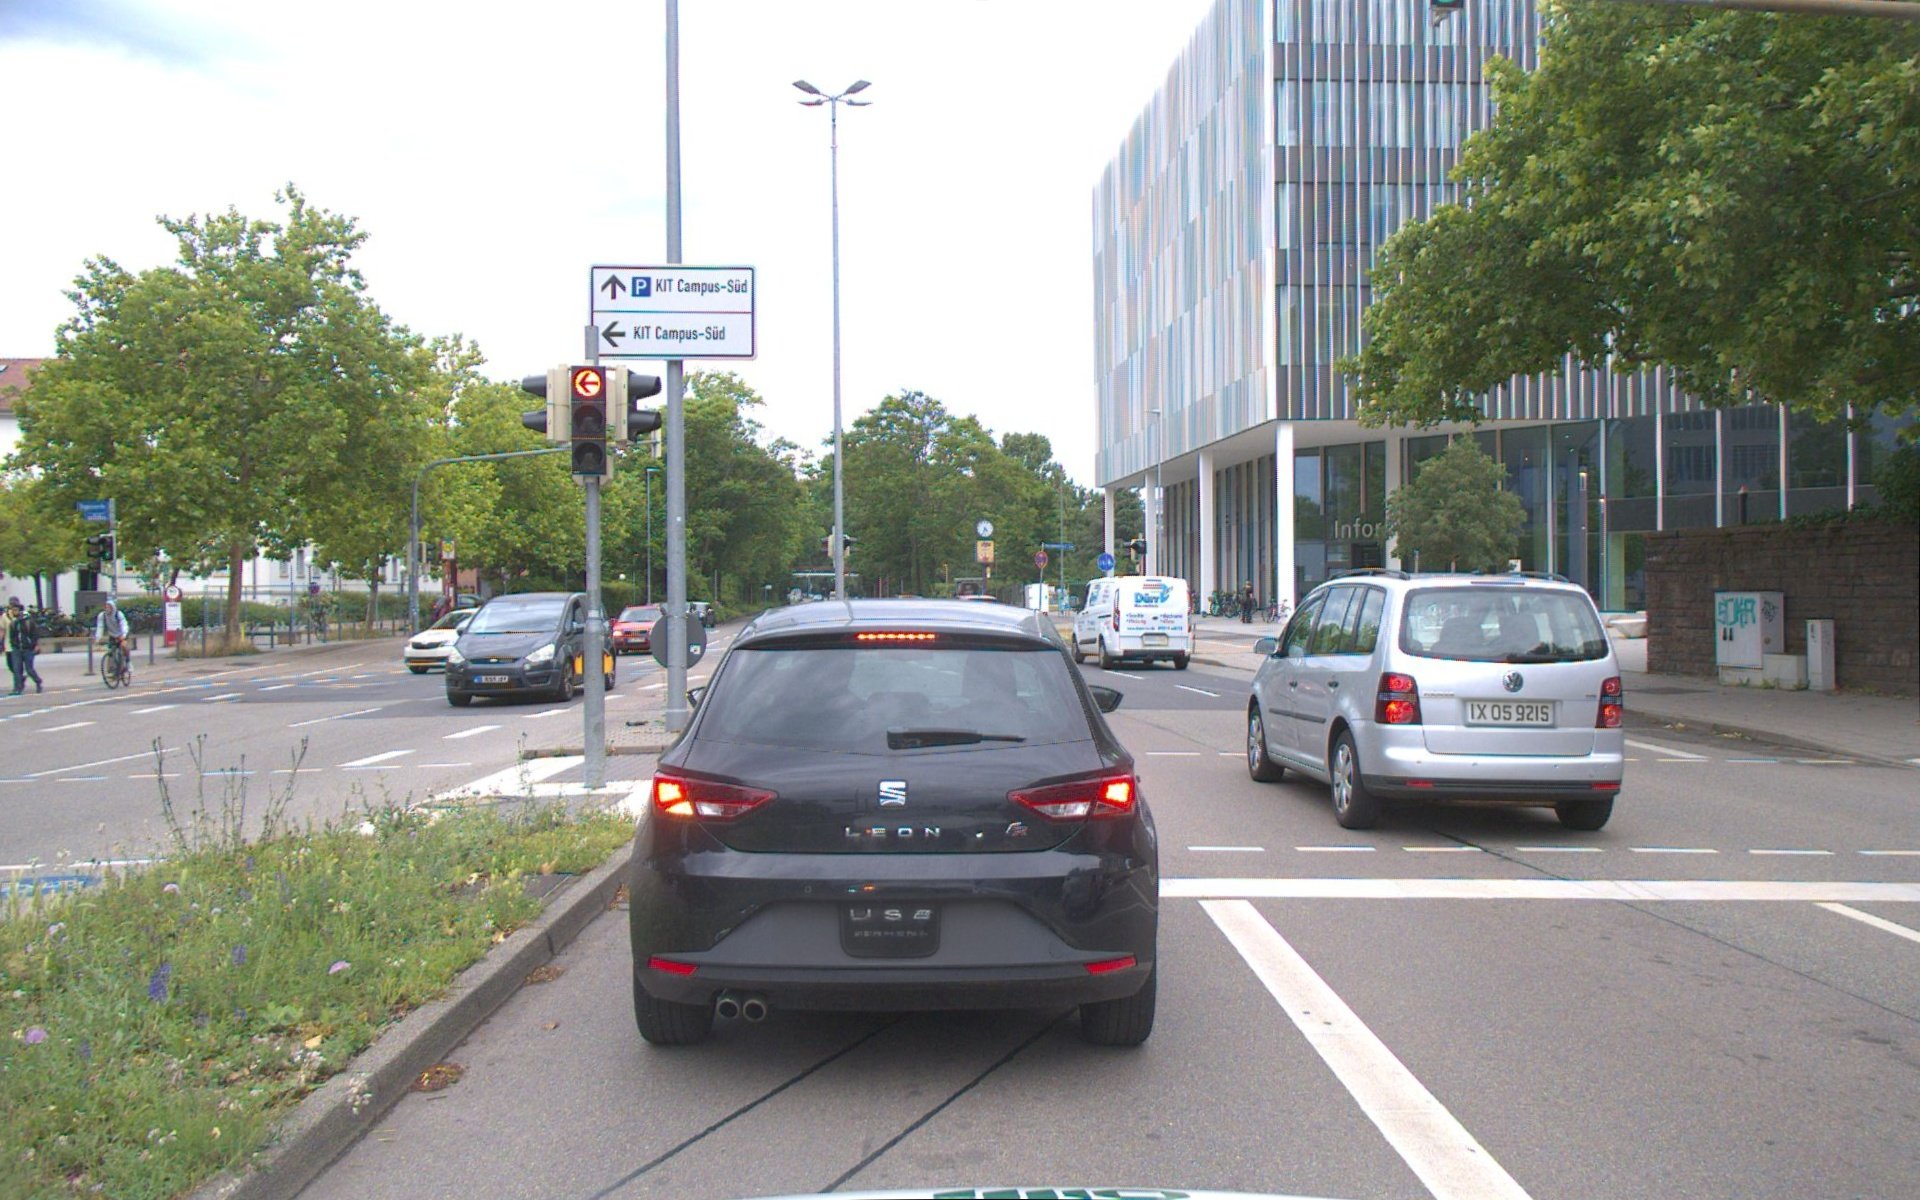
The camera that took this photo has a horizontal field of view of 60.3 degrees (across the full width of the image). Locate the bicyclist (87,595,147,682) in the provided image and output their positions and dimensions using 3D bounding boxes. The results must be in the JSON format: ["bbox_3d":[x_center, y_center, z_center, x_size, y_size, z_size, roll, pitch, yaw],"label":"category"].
[{"bbox_3d":[-16.610,0.753,32.615,0.652,1.664,0.961,1,-1,1],"label":"bicyclist"}]

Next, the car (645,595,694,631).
[{"bbox_3d":[-15.356,0.681,87.528,1.868,1.746,3.999,-2,1,-1],"label":"car"}]

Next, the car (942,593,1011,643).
[{"bbox_3d":[0.552,0.606,58.524,1.913,1.652,3.742,1,1,-8],"label":"car"}]

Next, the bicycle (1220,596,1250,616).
[{"bbox_3d":[12.840,0.293,77.152,1.421,0.872,0.361,-2,1,-28],"label":"bicycle"}]

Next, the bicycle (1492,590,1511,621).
[{"bbox_3d":[19.615,0.192,59.906,0.609,1.074,1.950,-2,1,19],"label":"bicycle"}]

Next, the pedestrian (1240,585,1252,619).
[{"bbox_3d":[12.076,0.091,69.836,0.462,1.385,0.446,-2,1,9],"label":"pedestrian"}]

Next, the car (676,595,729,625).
[{"bbox_3d":[-15.207,0.591,97.951,1.721,1.615,4.004,-2,1,12],"label":"car"}]

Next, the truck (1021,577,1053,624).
[{"bbox_3d":[3.813,0.000,82.077,1.291,2.282,3.401,-2,1,-1],"label":"truck"}]

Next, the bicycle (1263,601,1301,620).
[{"bbox_3d":[13.788,0.448,70.809,1.450,0.761,0.565,-2,1,-4],"label":"bicycle"}]

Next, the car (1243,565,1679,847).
[{"bbox_3d":[3.266,0.602,11.649,1.694,1.631,4.104,0,0,-2],"label":"car"}]

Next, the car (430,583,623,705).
[{"bbox_3d":[-6.738,0.637,26.204,1.882,1.693,4.398,-2,0,-1],"label":"car"}]

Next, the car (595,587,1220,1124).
[{"bbox_3d":[-0.097,0.689,6.466,1.717,1.457,3.770,1,1,1],"label":"car"}]

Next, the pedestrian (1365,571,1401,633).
[{"bbox_3d":[12.690,0.054,49.608,0.830,1.795,0.767,-2,1,-1],"label":"pedestrian"}]

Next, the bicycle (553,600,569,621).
[{"bbox_3d":[-20.178,0.530,83.664,0.478,1.023,1.590,1,1,-1],"label":"bicycle"}]

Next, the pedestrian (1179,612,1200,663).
[{"bbox_3d":[8.218,1.338,59.250,0.673,1.812,0.677,0,0,-1],"label":"pedestrian"}]

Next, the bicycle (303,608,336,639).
[{"bbox_3d":[-23.274,0.839,60.089,0.596,1.079,2.041,-2,1,-7],"label":"bicycle"}]

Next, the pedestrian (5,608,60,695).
[{"bbox_3d":[-17.210,0.954,30.705,0.778,1.585,0.695,0,-3,-21],"label":"pedestrian"}]

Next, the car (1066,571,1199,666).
[{"bbox_3d":[3.821,0.376,37.383,1.930,2.007,4.335,1,0,-9],"label":"car"}]

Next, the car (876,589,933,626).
[{"bbox_3d":[-2.754,0.365,80.975,1.883,1.693,4.098,-2,1,-15],"label":"car"}]

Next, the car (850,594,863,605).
[{"bbox_3d":[-12.466,-0.032,198.428,1.475,1.214,3.160,-2,1,-4],"label":"car"}]

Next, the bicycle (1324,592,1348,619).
[{"bbox_3d":[15.542,0.226,68.353,0.607,1.064,1.704,-2,1,25],"label":"bicycle"}]

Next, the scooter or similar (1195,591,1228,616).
[{"bbox_3d":[12.074,0.155,79.425,1.655,1.126,0.493,-3,1,-33],"label":"scooter or similar"}]

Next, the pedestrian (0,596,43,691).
[{"bbox_3d":[-18.211,0.840,31.917,0.829,1.770,0.824,-1,-4,-25],"label":"pedestrian"}]

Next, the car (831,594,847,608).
[{"bbox_3d":[-14.045,0.127,191.537,1.663,1.530,4.003,-2,1,-7],"label":"car"}]

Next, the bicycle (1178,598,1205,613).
[{"bbox_3d":[11.913,0.260,85.136,1.346,0.717,0.416,-2,1,2],"label":"bicycle"}]

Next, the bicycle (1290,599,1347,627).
[{"bbox_3d":[12.423,0.446,57.316,1.860,0.914,0.693,-2,1,-22],"label":"bicycle"}]

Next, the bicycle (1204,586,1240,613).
[{"bbox_3d":[12.481,-0.015,78.853,1.758,1.232,0.563,-3,1,-35],"label":"bicycle"}]

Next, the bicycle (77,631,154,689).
[{"bbox_3d":[-16.620,1.168,32.592,0.652,1.081,1.619,1,-1,1],"label":"bicycle"}]

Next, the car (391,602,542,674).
[{"bbox_3d":[-11.508,0.850,38.848,1.668,1.456,4.231,-2,1,9],"label":"car"}]

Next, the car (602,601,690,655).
[{"bbox_3d":[-9.372,0.805,49.610,1.678,1.443,4.295,-2,1,1],"label":"car"}]

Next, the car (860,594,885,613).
[{"bbox_3d":[-6.832,0.279,129.204,1.861,1.377,3.879,-2,1,-4],"label":"car"}]

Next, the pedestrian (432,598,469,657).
[{"bbox_3d":[-14.452,0.769,46.908,0.858,1.614,0.542,-2,1,-8],"label":"pedestrian"}]
